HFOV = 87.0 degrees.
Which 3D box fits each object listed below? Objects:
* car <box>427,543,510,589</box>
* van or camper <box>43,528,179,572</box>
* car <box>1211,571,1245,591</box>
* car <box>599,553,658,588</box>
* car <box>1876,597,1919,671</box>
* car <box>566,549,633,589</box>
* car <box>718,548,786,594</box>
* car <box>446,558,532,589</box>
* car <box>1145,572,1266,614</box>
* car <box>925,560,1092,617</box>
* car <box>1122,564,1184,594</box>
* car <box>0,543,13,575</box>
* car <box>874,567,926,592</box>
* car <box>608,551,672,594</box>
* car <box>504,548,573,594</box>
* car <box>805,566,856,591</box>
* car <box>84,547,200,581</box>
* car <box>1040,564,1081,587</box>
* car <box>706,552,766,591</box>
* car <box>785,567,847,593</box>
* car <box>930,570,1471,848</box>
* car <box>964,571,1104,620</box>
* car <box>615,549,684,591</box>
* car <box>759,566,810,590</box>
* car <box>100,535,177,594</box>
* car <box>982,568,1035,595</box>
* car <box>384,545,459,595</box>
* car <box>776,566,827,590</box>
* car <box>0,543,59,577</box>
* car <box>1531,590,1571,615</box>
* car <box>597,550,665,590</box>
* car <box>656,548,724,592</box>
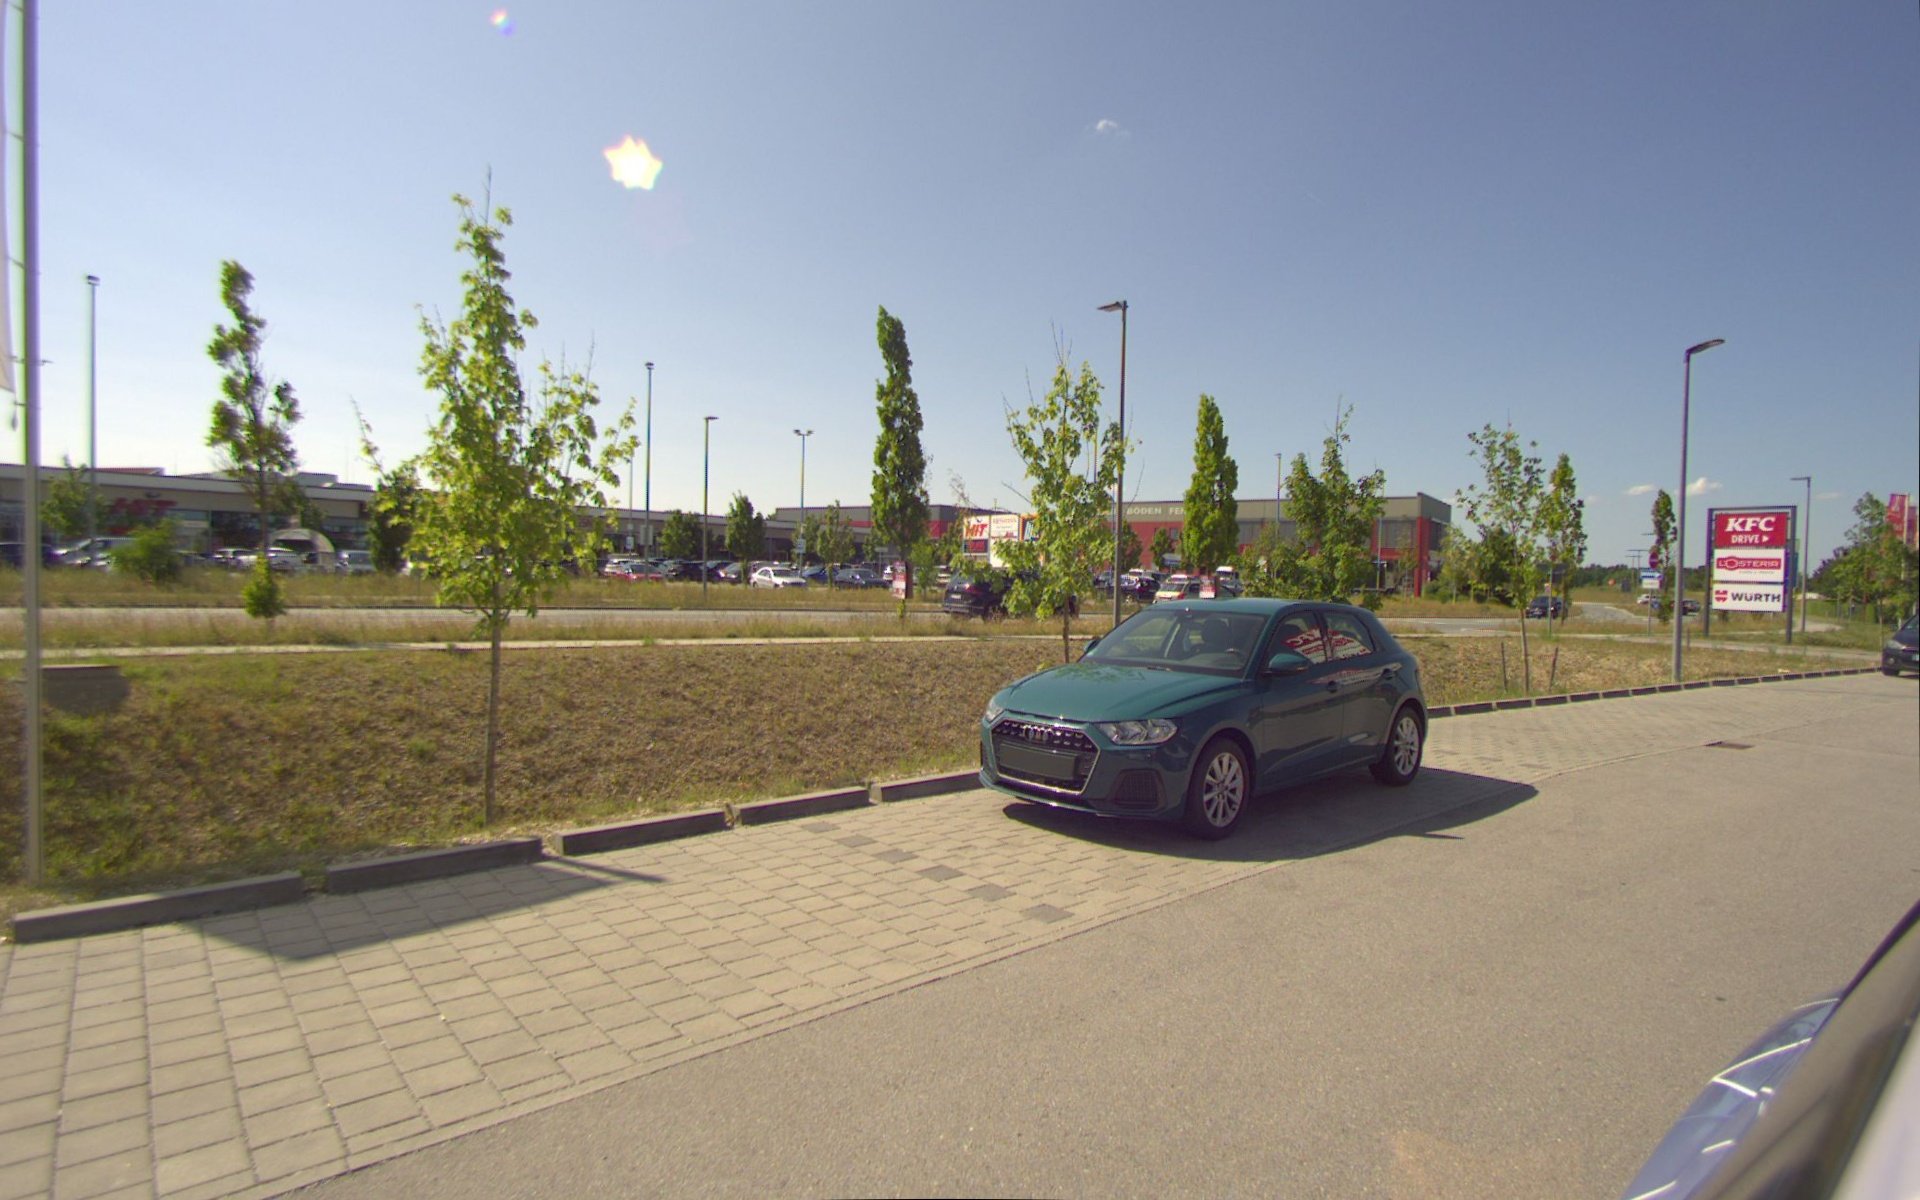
[{"bbox_3d":[-31.298,-2.125,64.622,1.983,2.857,4.438,1,1,29],"label":"car"},{"bbox_3d":[-43.027,-2.518,51.378,1.989,2.038,4.983,3,2,37],"label":"van or camper"},{"bbox_3d":[27.796,-1.962,105.045,1.988,2.063,4.427,1,1,35],"label":"car"},{"bbox_3d":[-27.630,-2.441,84.445,1.988,2.857,4.427,1,1,35],"label":"car"},{"bbox_3d":[21.341,0.726,21.373,4.279,1.483,1.880,1,1,-33],"label":"car"},{"bbox_3d":[-26.866,-2.261,75.550,1.988,2.857,4.427,1,1,35],"label":"car"},{"bbox_3d":[-13.585,-1.877,66.360,1.983,2.857,4.438,1,1,29],"label":"car"},{"bbox_3d":[-29.175,-1.620,62.783,1.988,1.886,4.427,1,1,35],"label":"car"},{"bbox_3d":[9.715,-0.260,39.975,4.668,1.570,1.948,0,1,-33],"label":"car"},{"bbox_3d":[1.468,-0.336,29.812,4.669,1.570,1.948,0,1,-34],"label":"car"},{"bbox_3d":[14.634,-1.580,76.738,4.394,2.213,2.003,0,1,-29],"label":"car"},{"bbox_3d":[-43.978,-1.812,44.110,1.719,1.408,3.690,2,2,32],"label":"car"},{"bbox_3d":[-4.998,-1.688,84.614,1.988,2.063,4.427,1,1,35],"label":"car"},{"bbox_3d":[-15.974,-1.390,50.443,1.847,2.038,4.139,1,2,-35],"label":"car"},{"bbox_3d":[-19.844,-1.403,47.576,1.908,2.038,4.409,1,2,-37],"label":"car"},{"bbox_3d":[-11.319,-1.866,88.733,1.988,2.063,4.427,1,1,35],"label":"car"},{"bbox_3d":[-38.791,-1.687,48.058,1.864,1.527,3.947,1,1,37],"label":"car"},{"bbox_3d":[9.520,-2.331,95.572,1.988,2.063,4.427,1,1,35],"label":"car"},{"bbox_3d":[-16.729,-2.104,75.751,1.983,2.857,4.438,1,1,29],"label":"car"},{"bbox_3d":[-10.147,-1.394,71.494,1.988,1.806,4.260,1,1,35],"label":"car"},{"bbox_3d":[1.968,0.575,7.524,4.153,1.467,1.843,0,2,-41],"label":"car"},{"bbox_3d":[2.602,-0.163,35.066,4.672,1.570,1.946,0,1,-36],"label":"car"},{"bbox_3d":[-22.215,-2.129,72.506,1.988,2.857,4.427,1,1,35],"label":"car"},{"bbox_3d":[-15.852,-1.995,91.755,1.988,2.063,4.427,1,1,35],"label":"car"},{"bbox_3d":[-30.802,-1.328,37.930,2.126,2.038,5.110,0,2,-40],"label":"car"},{"bbox_3d":[3.778,-1.429,78.212,1.988,2.063,4.427,1,1,35],"label":"car"},{"bbox_3d":[-23.653,-1.336,44.363,2.125,2.038,5.114,0,2,-37],"label":"car"},{"bbox_3d":[-14.066,-1.936,90.135,1.988,2.063,4.427,1,1,35],"label":"car"},{"bbox_3d":[-41.290,-1.716,43.372,1.719,1.408,3.690,2,2,32],"label":"car"},{"bbox_3d":[38.938,0.164,66.688,1.819,1.560,3.947,2,1,37],"label":"car"},{"bbox_3d":[-24.236,-2.203,74.703,1.988,2.857,4.427,1,1,35],"label":"car"},{"bbox_3d":[-18.360,-2.003,69.034,1.983,2.857,4.438,1,1,29],"label":"car"}]
